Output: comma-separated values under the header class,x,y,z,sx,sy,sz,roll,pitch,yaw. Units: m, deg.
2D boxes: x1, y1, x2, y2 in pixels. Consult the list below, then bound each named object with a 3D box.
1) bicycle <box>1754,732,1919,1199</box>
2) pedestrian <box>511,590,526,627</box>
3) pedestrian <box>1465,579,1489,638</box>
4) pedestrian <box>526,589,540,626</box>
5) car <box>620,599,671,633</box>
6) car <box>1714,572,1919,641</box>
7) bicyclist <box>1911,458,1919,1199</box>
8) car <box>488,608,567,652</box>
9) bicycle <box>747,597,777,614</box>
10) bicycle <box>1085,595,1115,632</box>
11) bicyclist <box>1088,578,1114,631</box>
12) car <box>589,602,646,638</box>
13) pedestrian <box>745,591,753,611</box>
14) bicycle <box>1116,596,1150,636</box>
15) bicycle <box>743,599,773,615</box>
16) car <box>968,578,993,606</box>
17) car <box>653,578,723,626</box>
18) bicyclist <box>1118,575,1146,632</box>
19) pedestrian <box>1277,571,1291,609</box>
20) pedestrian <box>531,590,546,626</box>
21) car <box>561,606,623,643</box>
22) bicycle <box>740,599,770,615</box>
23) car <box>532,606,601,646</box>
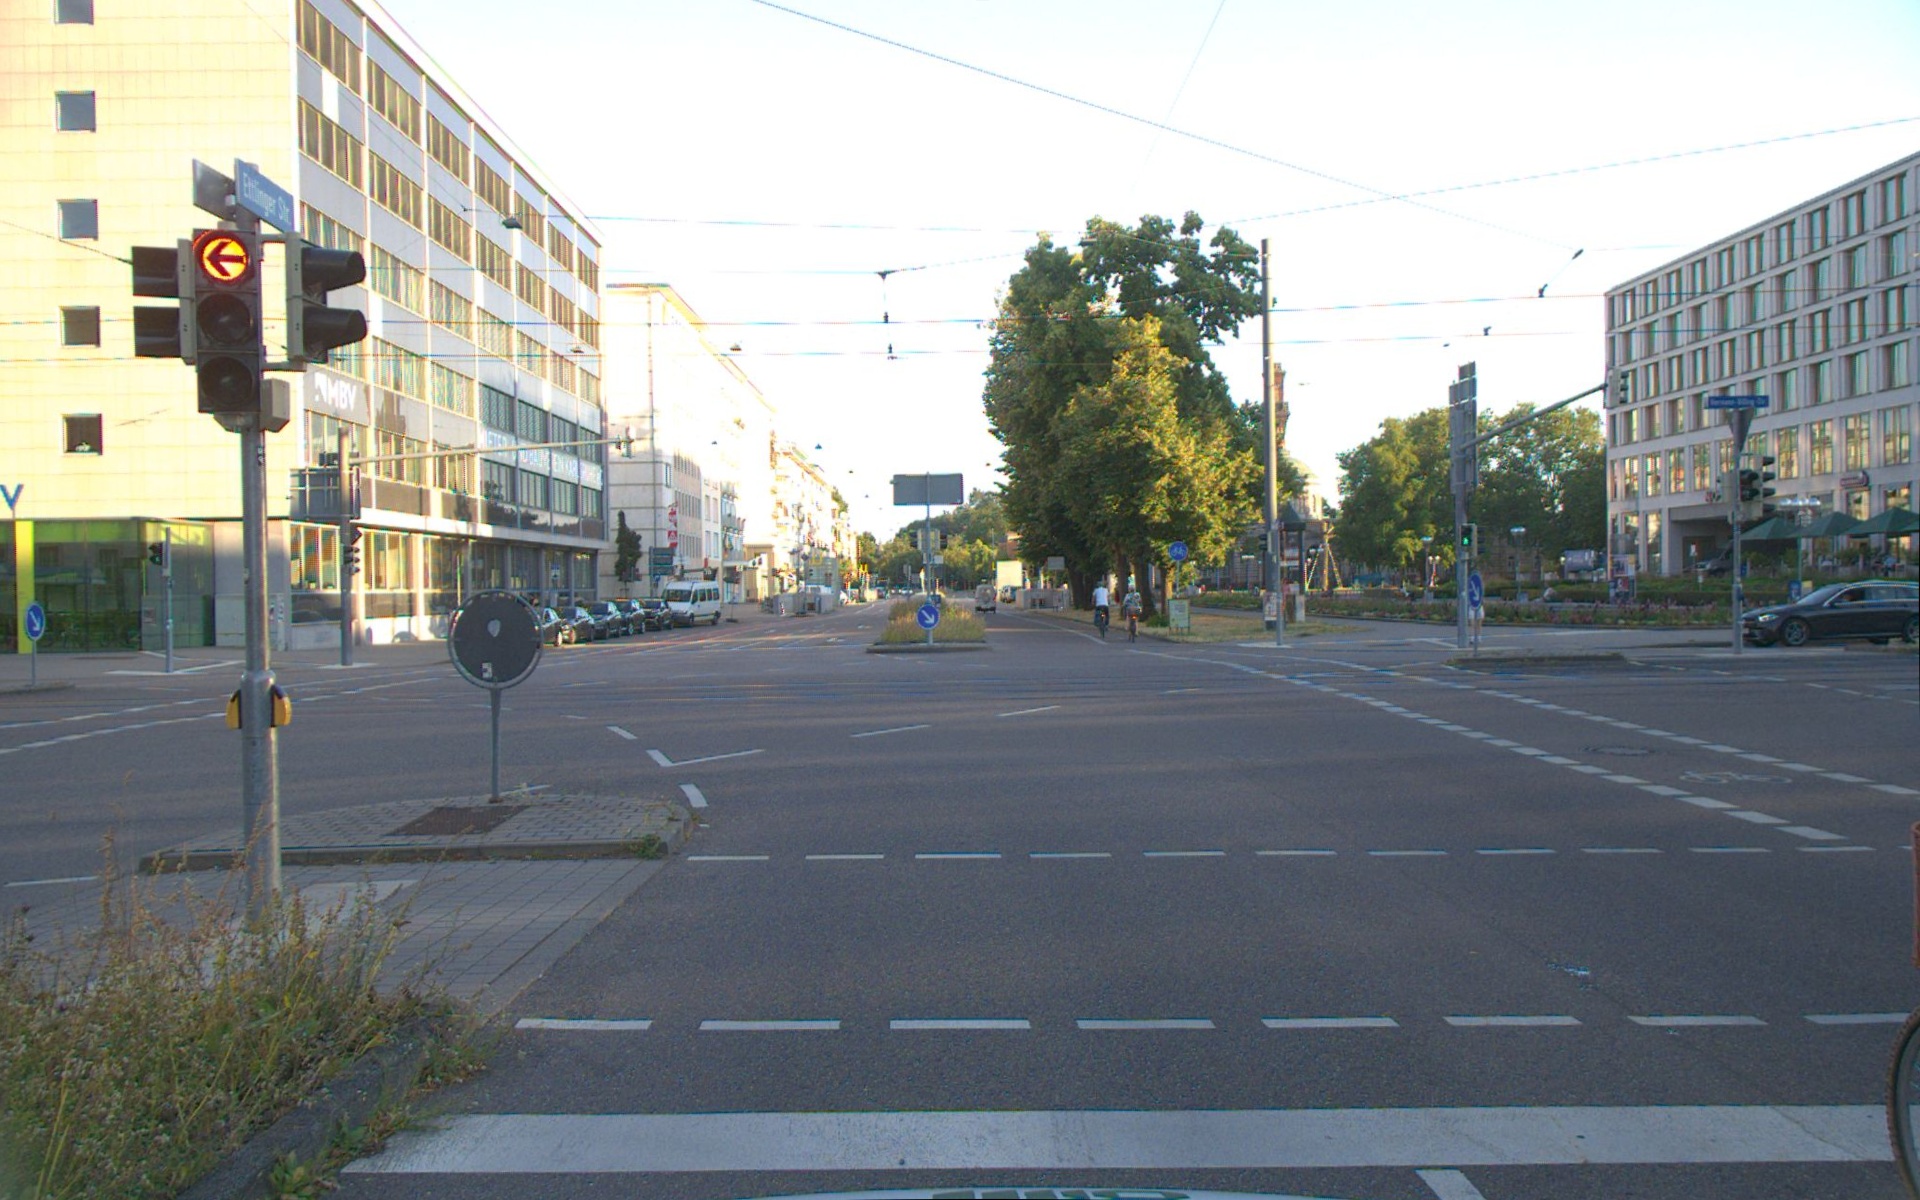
class,x,y,z,sx,sy,sz,roll,pitch,yaw
bicycle,2.163,0.890,2.849,0.599,1.152,2.004,1,0,-1
pedestrian,-20.804,0.388,77.895,0.540,1.708,0.500,-1,0,-1
pedestrian,13.982,0.220,44.708,0.480,1.566,0.408,-1,0,-1
pedestrian,-20.175,0.356,78.205,0.490,1.708,0.500,-1,0,-1
car,-16.023,0.790,84.509,1.882,1.595,3.999,-1,0,-1
car,21.058,0.142,39.998,4.724,1.542,2.000,-1,0,1
bicyclist,2.171,0.559,2.753,0.587,1.665,0.998,1,0,-1
car,-16.060,1.079,61.613,1.882,1.489,4.102,-1,0,-1
bicycle,-15.402,0.462,128.639,2.161,1.258,0.839,-1,0,-3
bicycle,4.586,0.446,54.384,0.731,1.164,2.505,-1,0,-1
bicyclist,4.577,0.135,53.733,0.731,1.692,0.873,-1,0,-1
car,-16.194,0.936,78.278,1.882,1.595,3.999,-1,0,-1
pedestrian,-21.021,0.092,164.614,0.666,2.049,0.545,-2,0,-1
bicycle,5.294,0.475,50.777,0.731,1.164,2.505,-1,0,-1
bicycle,-15.474,0.535,126.719,2.161,1.131,0.689,-1,0,-3
car,1.285,-0.522,103.931,1.379,1.670,3.998,-1,0,-2
car,-14.915,0.081,90.969,1.958,2.521,5.873,-1,0,9
bicyclist,5.283,0.111,50.783,0.731,1.720,0.799,-1,0,-1
pedestrian,14.383,-0.457,73.423,0.451,1.685,0.566,-1,0,-1
pedestrian,-19.751,0.373,77.557,0.540,1.708,0.500,-1,0,-1
car,-16.195,1.064,72.974,1.882,1.489,3.999,-1,0,-1
bicycle,-15.515,0.539,125.237,2.161,1.131,0.618,-1,0,-3
car,-16.173,1.042,68.160,1.882,1.489,3.999,-1,0,-1
